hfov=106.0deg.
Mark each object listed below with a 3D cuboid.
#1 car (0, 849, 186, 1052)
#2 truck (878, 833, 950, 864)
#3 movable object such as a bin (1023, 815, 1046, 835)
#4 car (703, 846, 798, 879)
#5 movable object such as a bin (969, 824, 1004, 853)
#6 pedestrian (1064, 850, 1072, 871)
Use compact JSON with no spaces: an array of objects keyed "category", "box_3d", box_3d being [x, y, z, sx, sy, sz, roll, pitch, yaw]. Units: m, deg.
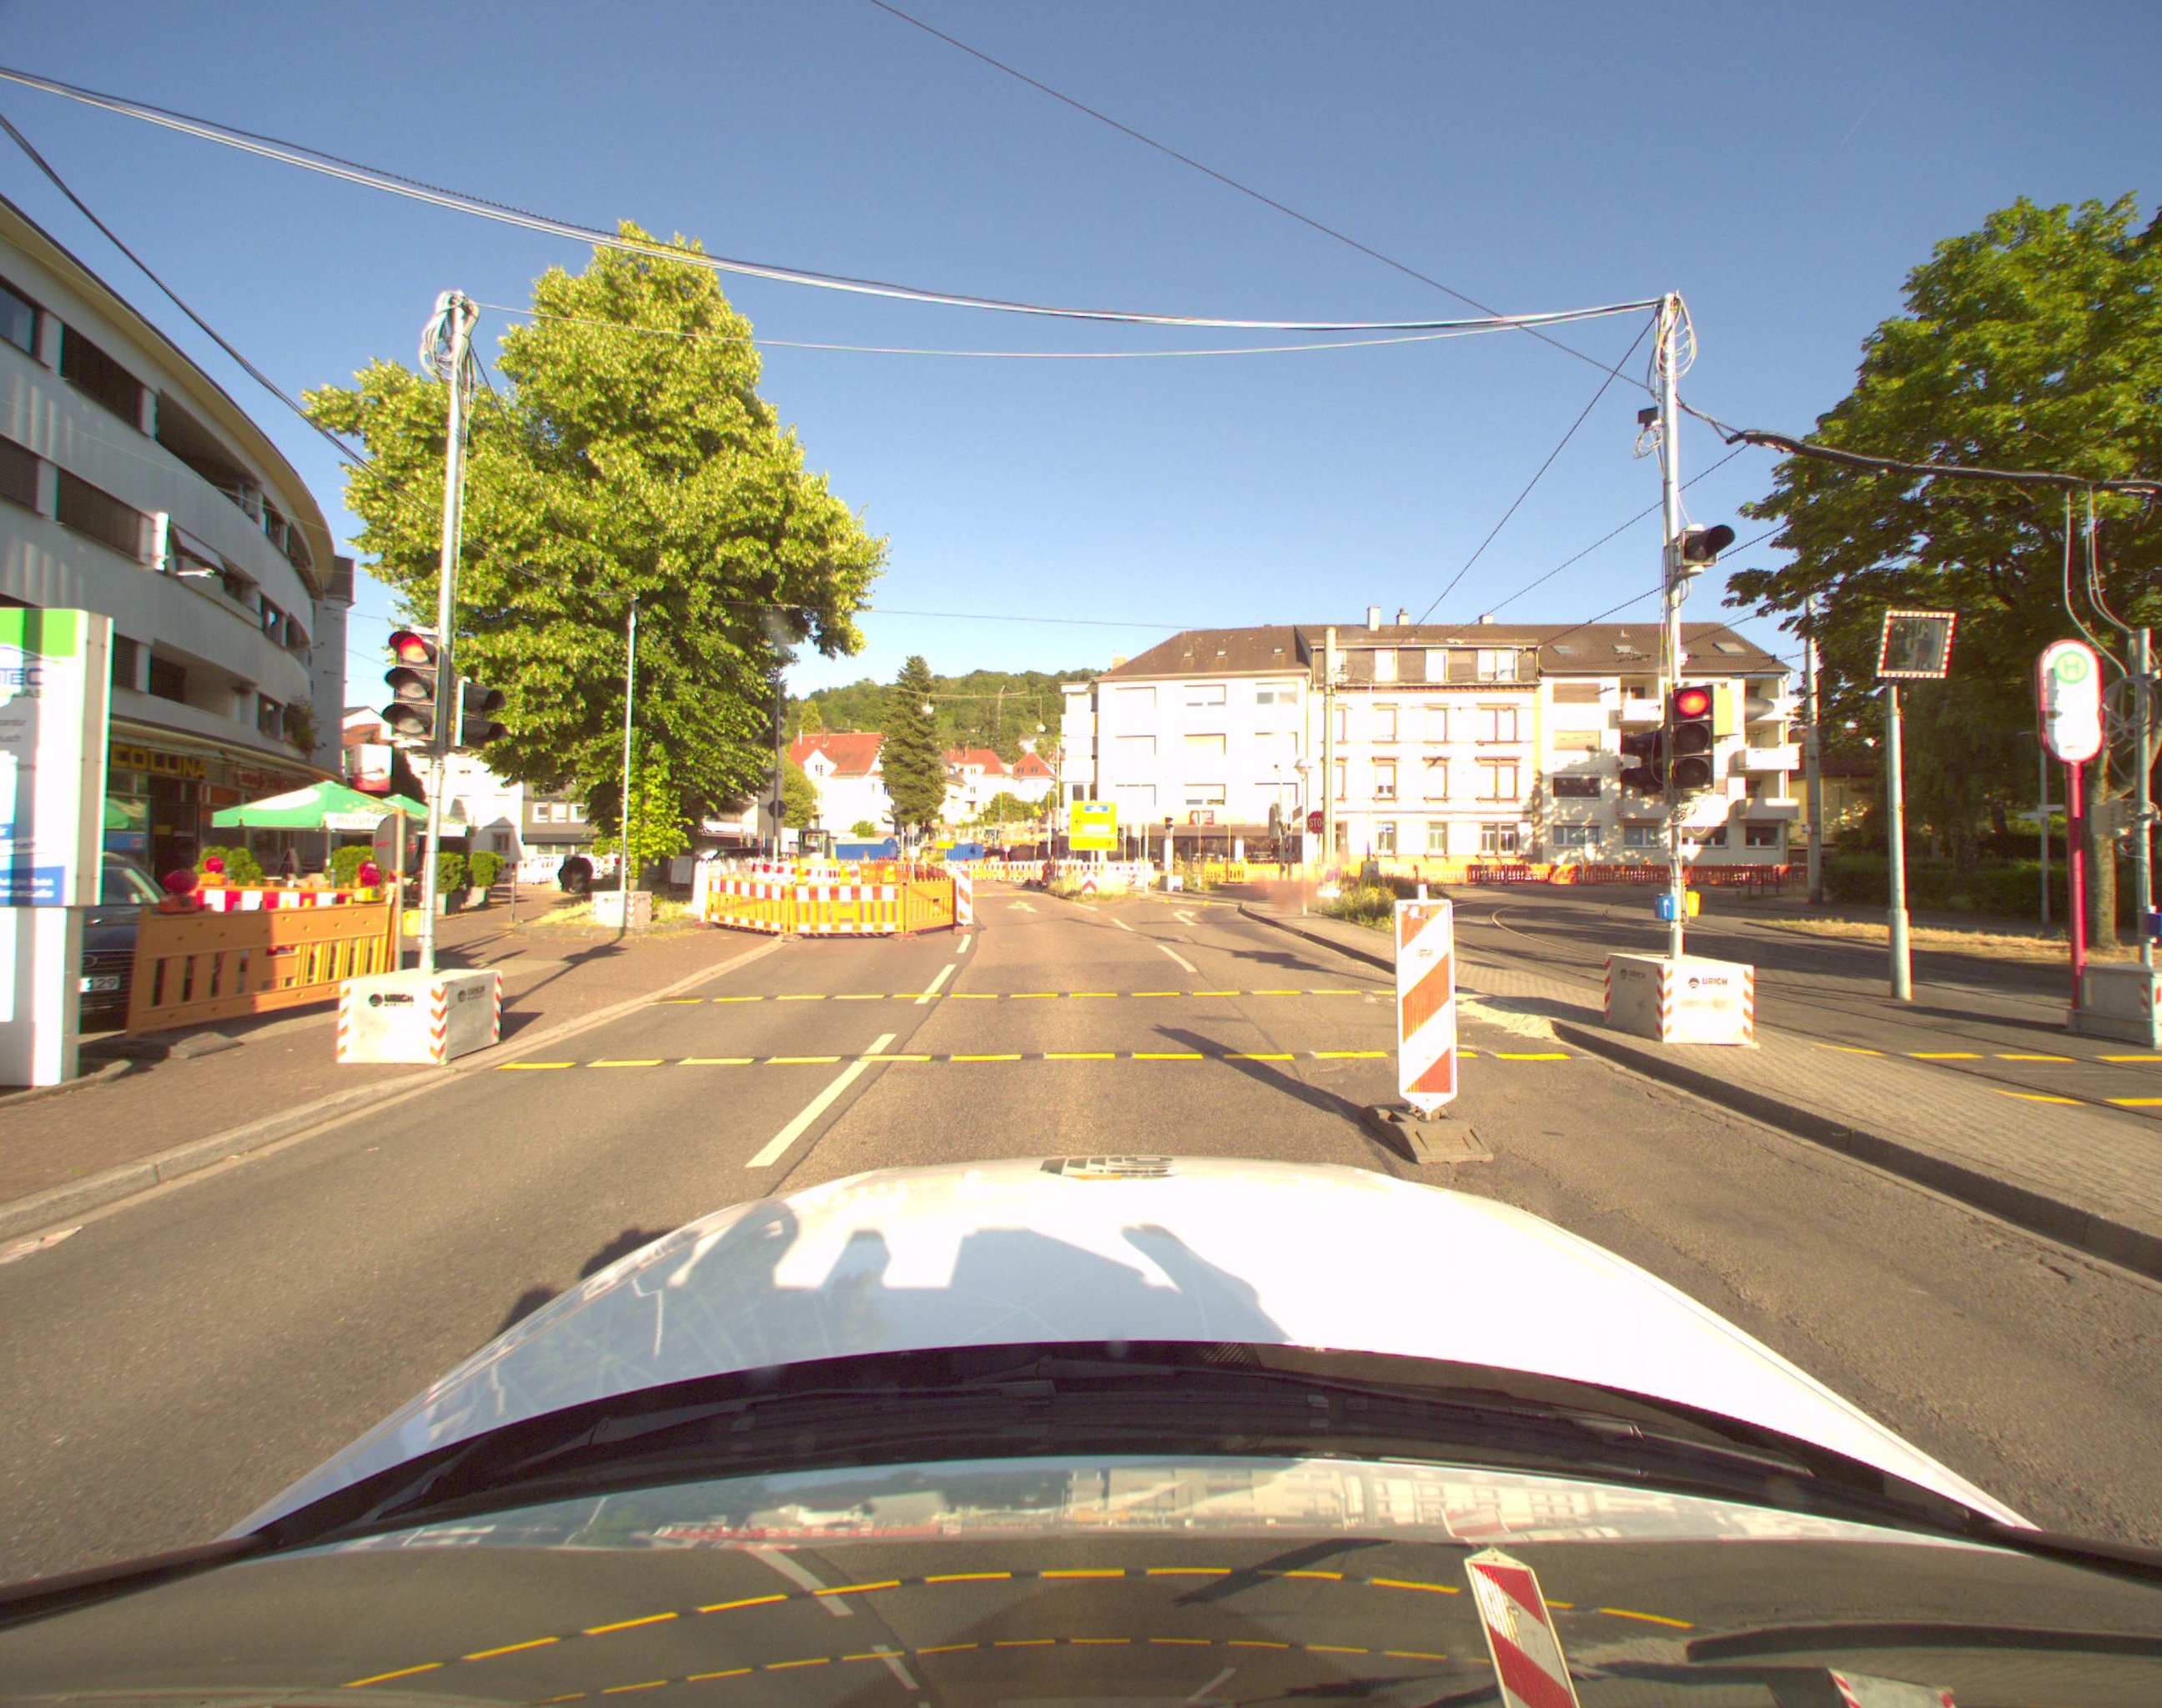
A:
[{"category":"car","box_3d":[-9.599,0.715,7.535,4.246,1.454,1.660,1,0,43]},{"category":"truck","box_3d":[-13.984,-0.436,69.177,2.340,2.416,9.184,0,0,13]},{"category":"movable object such as a bin","box_3d":[-6.489,-4.035,113.901,2.176,2.690,4.013,0,0,12]},{"category":"car","box_3d":[-20.459,0.512,50.537,4.960,2.014,2.071,0,0,4]},{"category":"movable object such as a bin","box_3d":[-9.229,-1.486,79.622,2.176,2.690,4.013,0,0,12]},{"category":"pedestrian","box_3d":[-1.110,0.518,68.594,0.638,1.760,0.718,0,0,2]}]
